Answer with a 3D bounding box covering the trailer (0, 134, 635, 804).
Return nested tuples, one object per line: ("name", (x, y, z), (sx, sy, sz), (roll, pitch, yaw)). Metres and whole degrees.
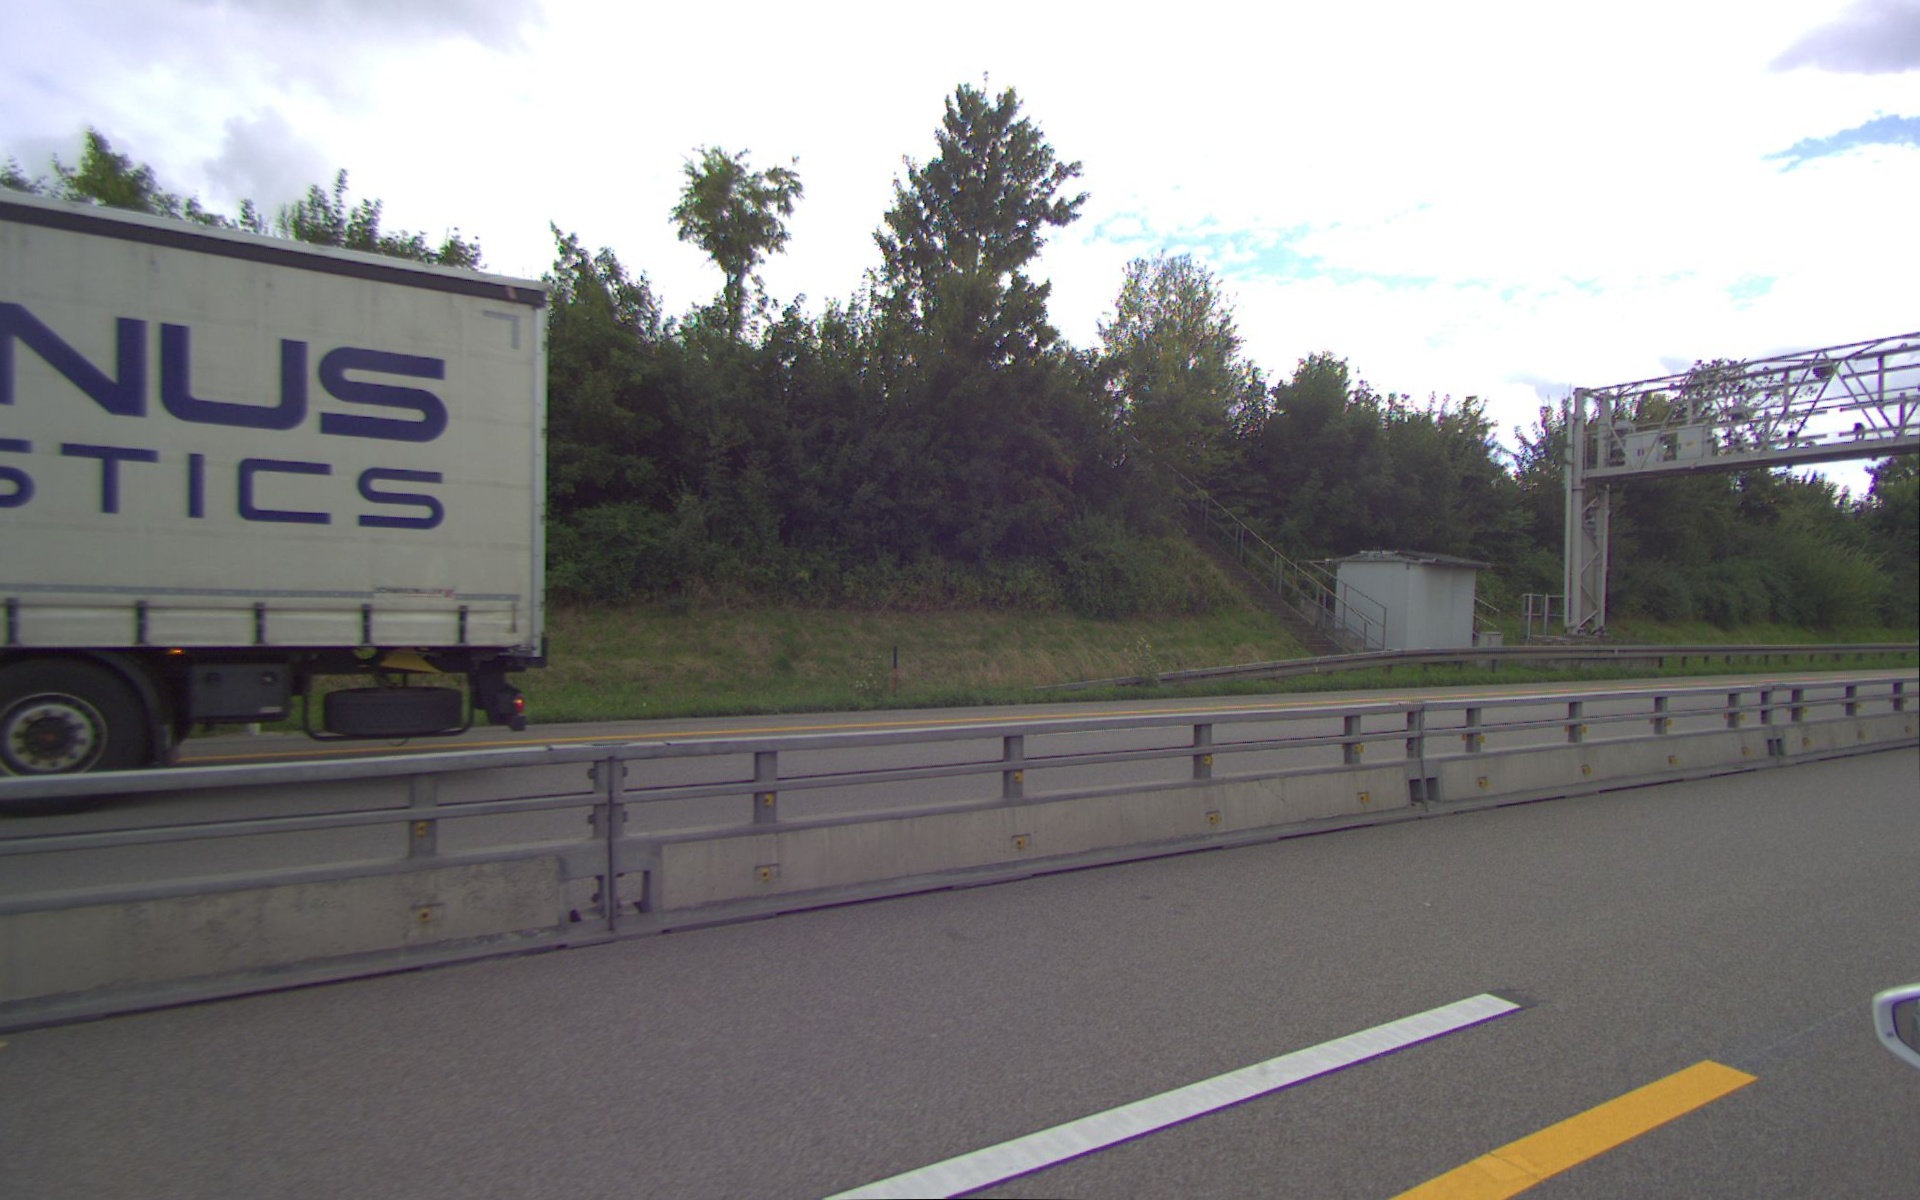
("trailer", (-9.285, -0.870, 5.871), (13.831, 4.210, 2.585), (1, 1, -31))
